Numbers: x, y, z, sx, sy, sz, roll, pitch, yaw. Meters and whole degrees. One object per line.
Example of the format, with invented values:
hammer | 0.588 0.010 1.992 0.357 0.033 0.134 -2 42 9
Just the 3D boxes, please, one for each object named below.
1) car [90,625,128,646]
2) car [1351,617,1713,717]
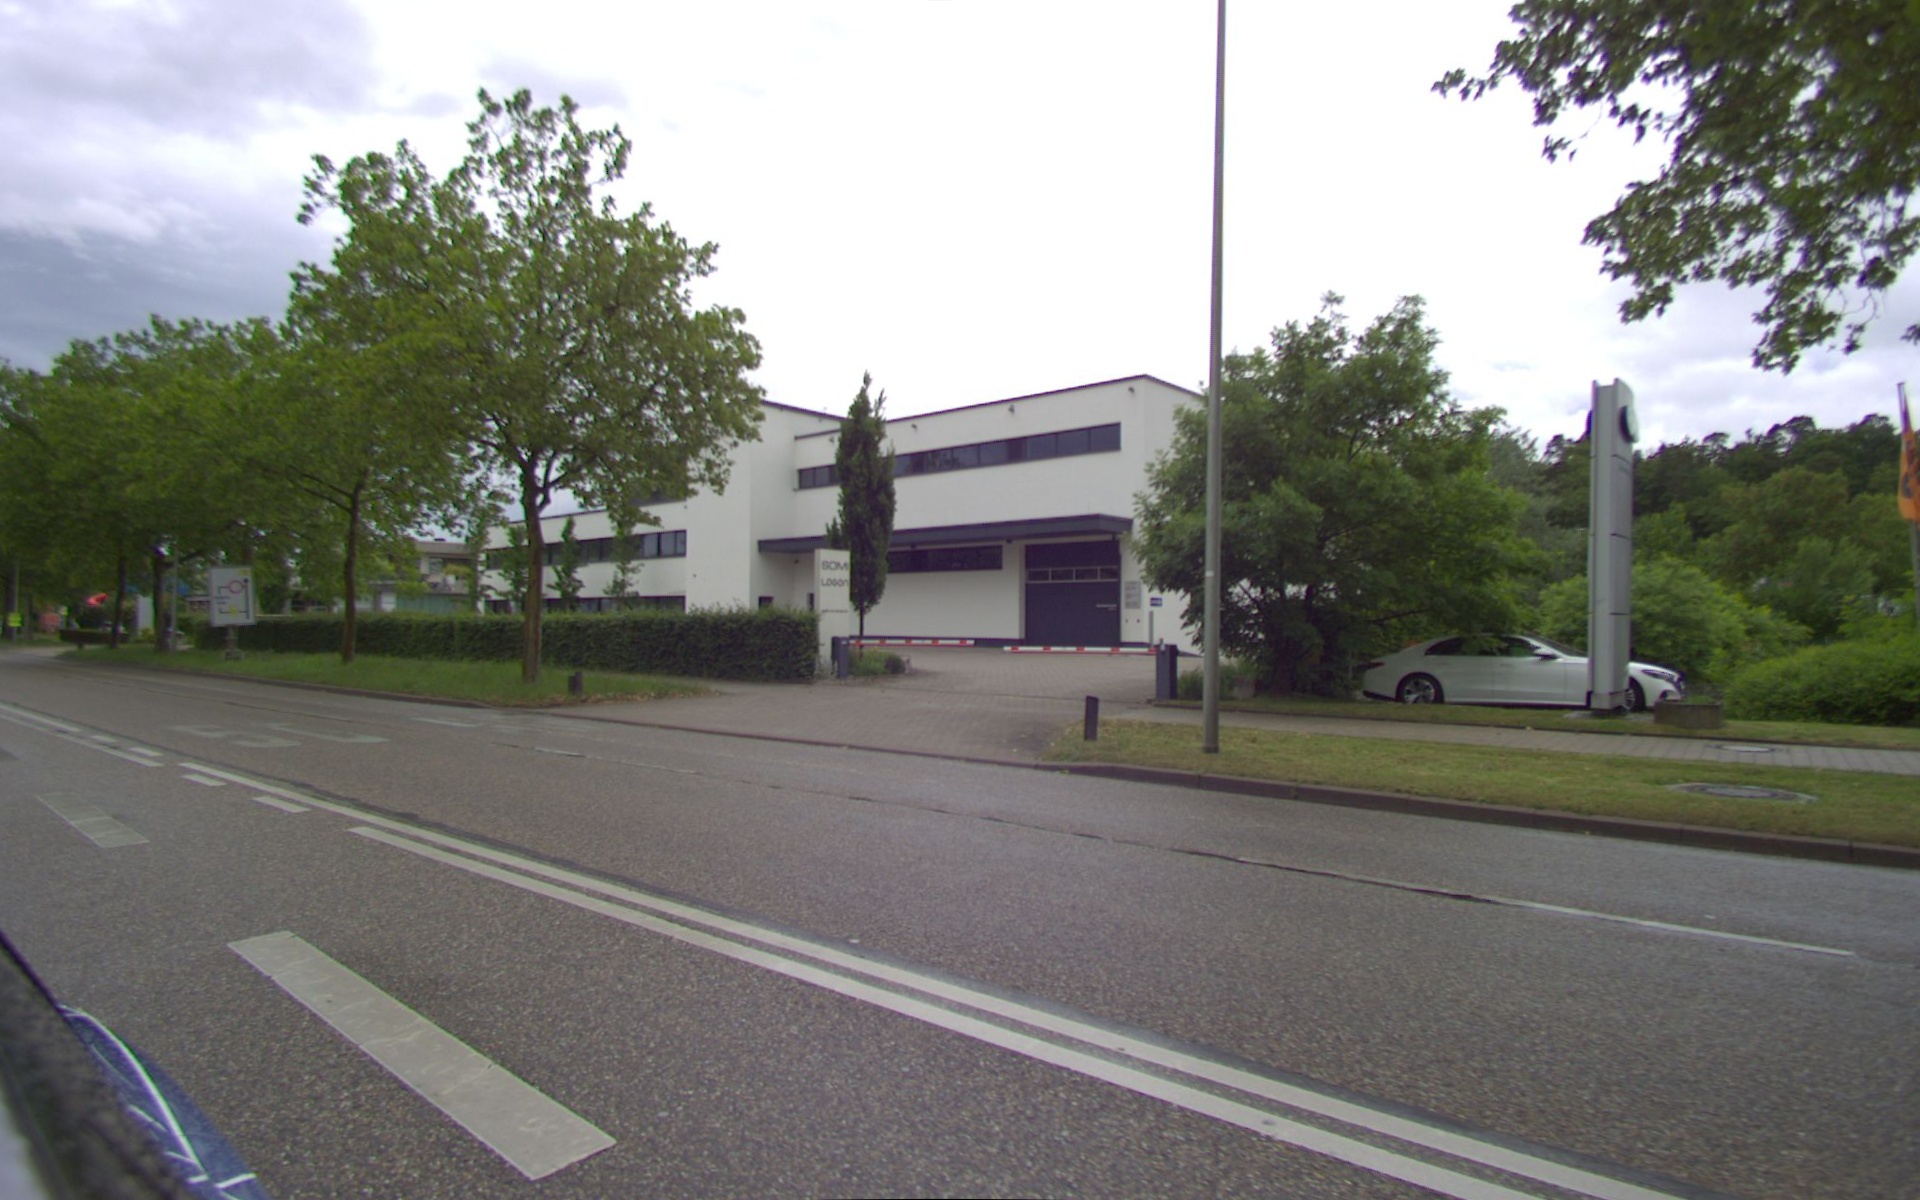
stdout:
car | -68.770 2.852 81.739 3.999 1.545 1.723 -1 -4 42
car | 9.887 1.092 17.768 5.242 1.507 2.097 -1 -2 40
